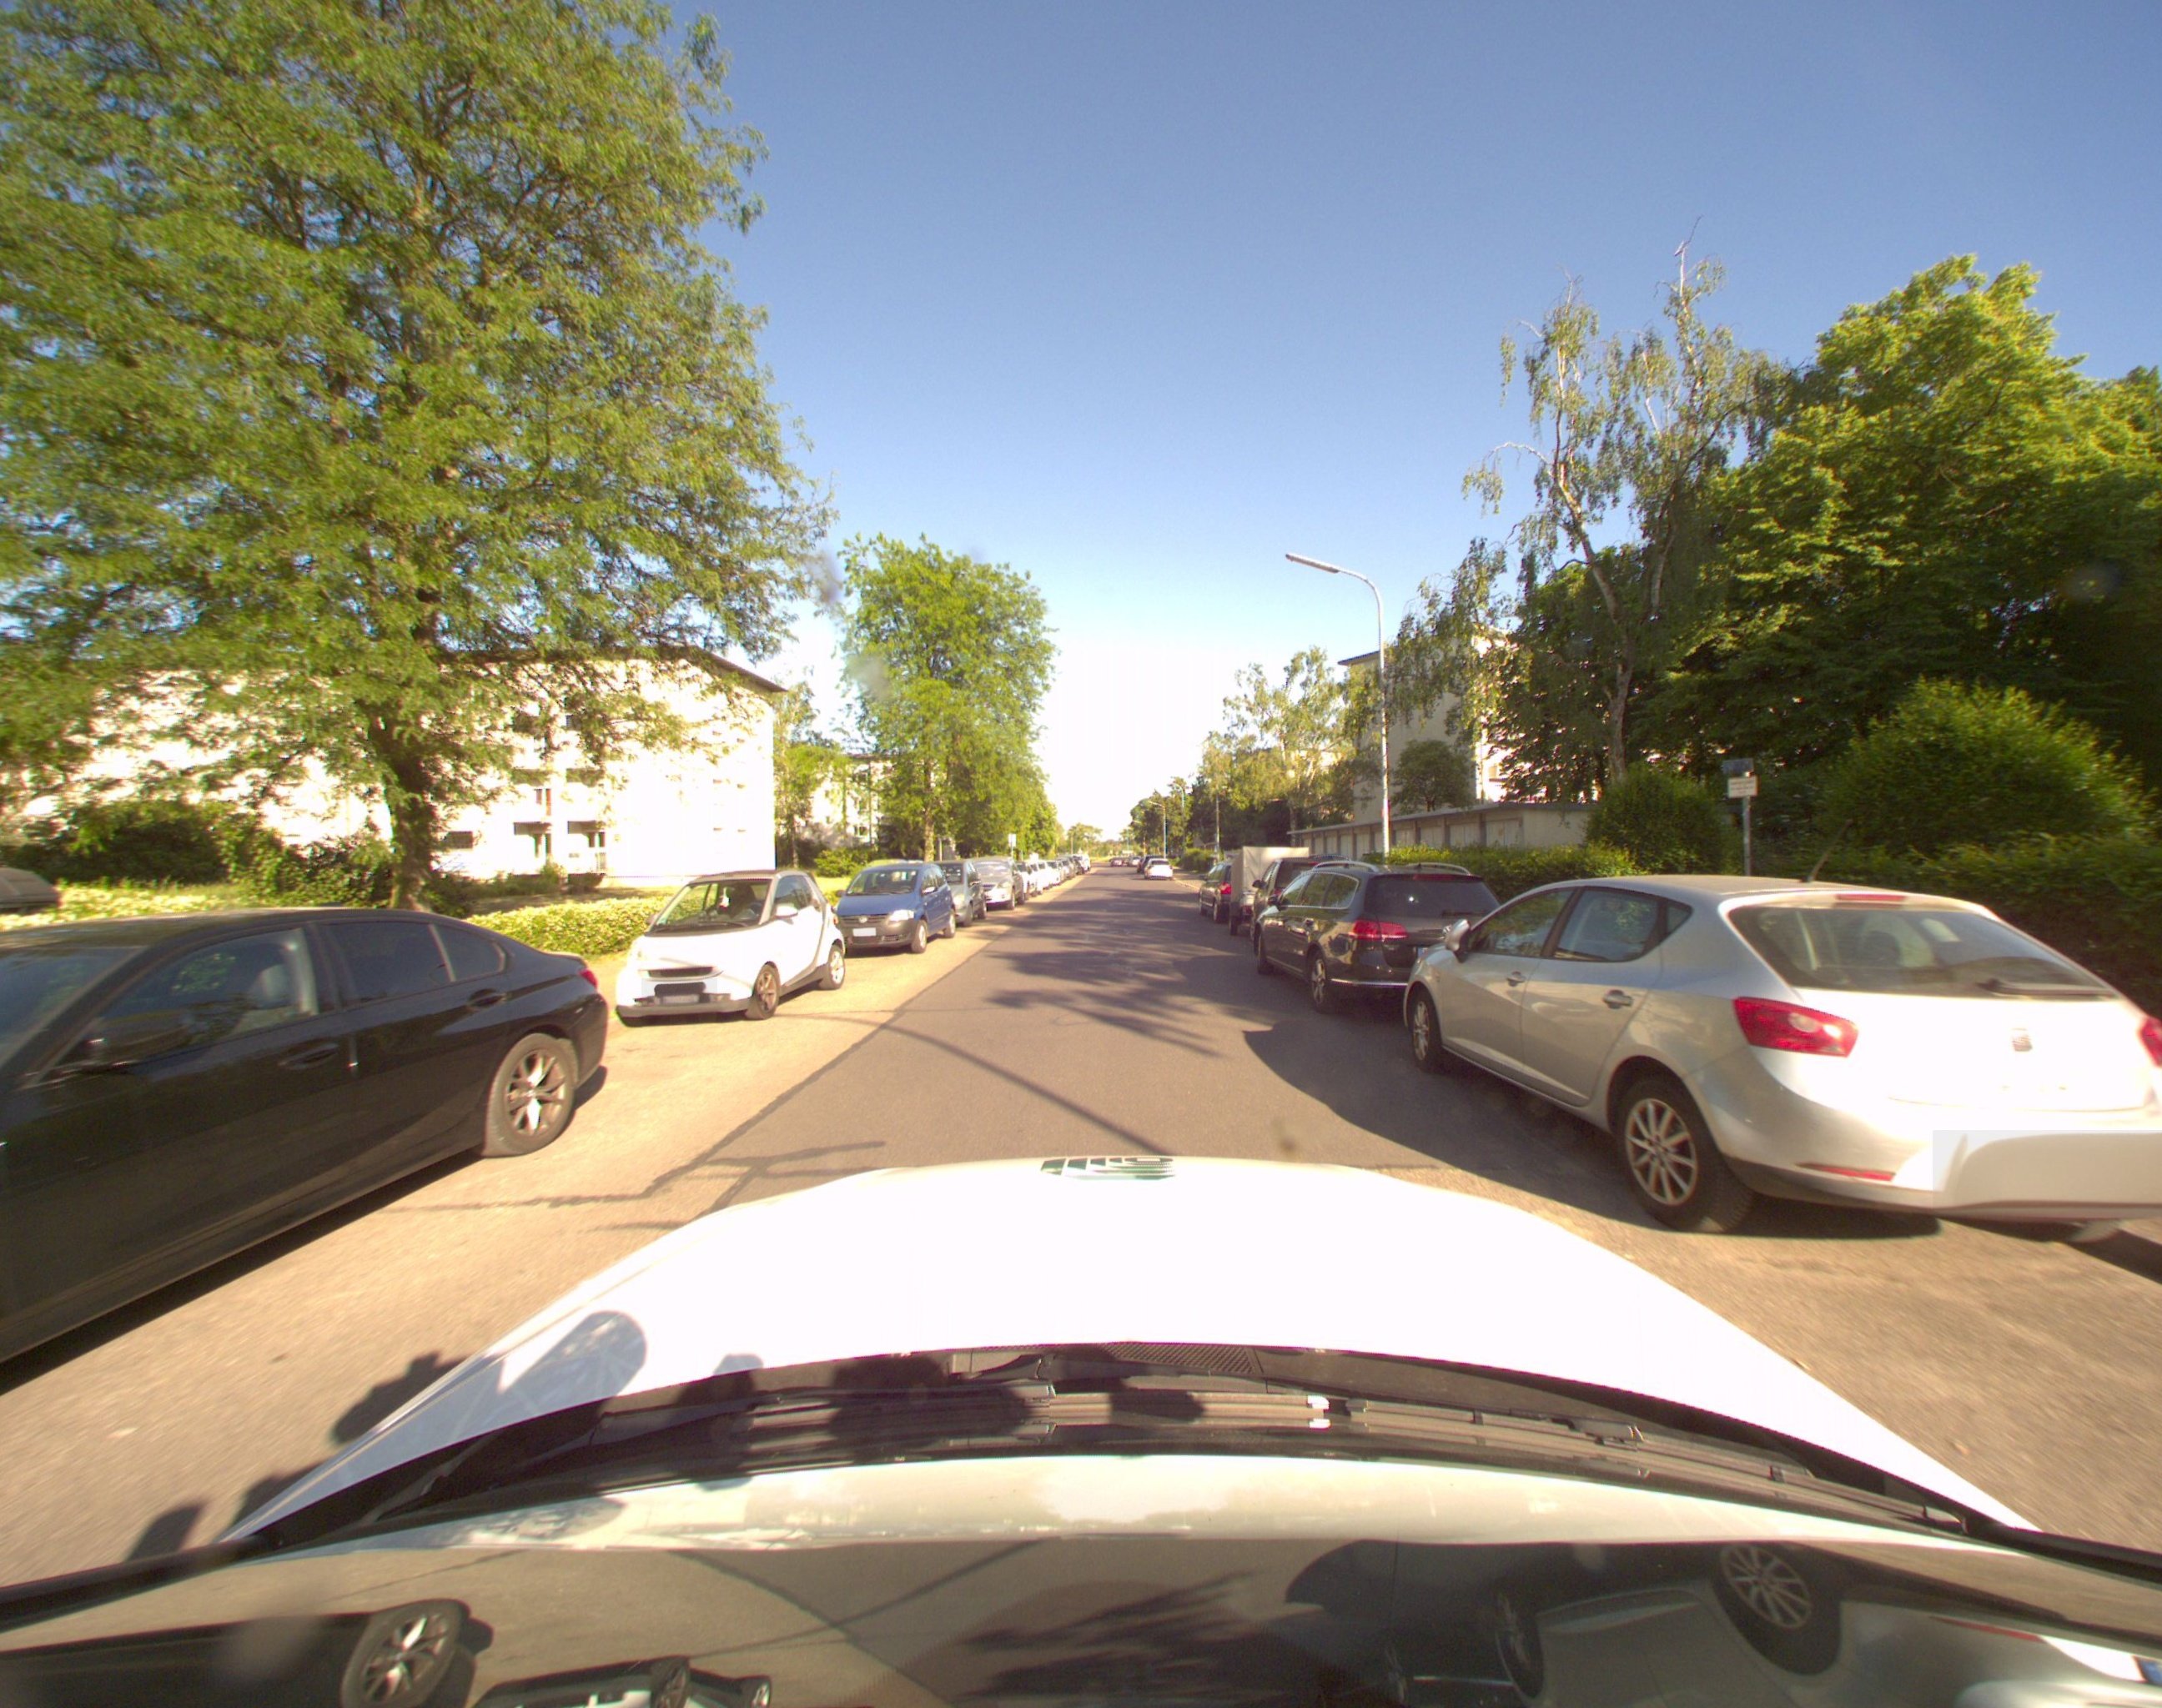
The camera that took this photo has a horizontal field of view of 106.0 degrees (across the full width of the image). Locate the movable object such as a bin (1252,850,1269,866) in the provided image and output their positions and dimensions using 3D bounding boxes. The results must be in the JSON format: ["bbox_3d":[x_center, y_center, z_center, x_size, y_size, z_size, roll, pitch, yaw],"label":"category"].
[{"bbox_3d":[15.709,0.357,71.429,1.250,1.353,1.279,-1,0,1],"label":"movable object such as a bin"}]

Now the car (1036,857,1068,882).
[{"bbox_3d":[-1.870,0.965,53.817,1.680,1.465,4.527,-3,0,2],"label":"car"}]

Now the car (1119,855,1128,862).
[{"bbox_3d":[8.975,0.974,172.555,1.790,1.548,3.951,0,0,0],"label":"car"}]

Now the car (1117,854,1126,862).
[{"bbox_3d":[8.936,0.917,179.885,1.790,1.643,3.951,0,0,0],"label":"car"}]

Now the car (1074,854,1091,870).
[{"bbox_3d":[0.181,0.892,94.213,1.739,1.732,4.007,-2,0,2],"label":"car"}]

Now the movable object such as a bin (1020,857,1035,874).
[{"bbox_3d":[-4.611,0.963,70.703,1.097,1.420,1.362,1,0,2],"label":"movable object such as a bin"}]

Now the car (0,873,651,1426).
[{"bbox_3d":[-3.921,0.916,3.341,1.748,1.481,4.538,-3,0,1],"label":"car"}]

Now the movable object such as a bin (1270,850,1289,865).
[{"bbox_3d":[17.417,0.313,71.615,1.253,1.353,1.276,-1,0,-6],"label":"movable object such as a bin"}]

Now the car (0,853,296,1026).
[{"bbox_3d":[-11.028,0.810,8.599,1.565,1.641,4.000,0,0,0],"label":"car"}]

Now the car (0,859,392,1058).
[{"bbox_3d":[-9.134,0.820,7.836,1.565,1.525,4.000,0,0,0],"label":"car"}]

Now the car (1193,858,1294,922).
[{"bbox_3d":[3.926,0.813,20.236,1.726,1.403,3.894,0,0,0],"label":"car"}]

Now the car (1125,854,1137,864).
[{"bbox_3d":[8.410,0.836,138.194,1.790,1.643,3.951,0,0,0],"label":"car"}]

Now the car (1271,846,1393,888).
[{"bbox_3d":[10.269,0.513,33.581,4.494,1.513,1.830,-2,0,3],"label":"car"}]

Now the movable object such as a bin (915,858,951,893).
[{"bbox_3d":[-6.221,0.894,34.298,1.131,1.382,1.443,1,0,3],"label":"movable object such as a bin"}]

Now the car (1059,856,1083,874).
[{"bbox_3d":[-0.846,1.007,74.226,1.738,1.533,4.144,-2,0,4],"label":"car"}]

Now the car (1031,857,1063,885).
[{"bbox_3d":[-1.984,0.961,48.265,1.681,1.505,3.818,-2,0,1],"label":"car"}]

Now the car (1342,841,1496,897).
[{"bbox_3d":[10.269,0.445,24.953,3.931,1.513,1.828,-2,0,-1],"label":"car"}]

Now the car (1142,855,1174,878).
[{"bbox_3d":[5.169,0.810,54.875,1.748,1.513,4.103,1,0,0],"label":"car"}]

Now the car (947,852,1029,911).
[{"bbox_3d":[-2.826,0.807,25.701,1.896,1.640,4.351,-2,0,2],"label":"car"}]

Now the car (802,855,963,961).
[{"bbox_3d":[-3.483,0.875,15.095,1.747,1.606,3.971,-3,0,3],"label":"car"}]

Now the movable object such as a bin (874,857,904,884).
[{"bbox_3d":[-10.331,0.874,43.896,1.172,1.420,1.464,1,0,4],"label":"movable object such as a bin"}]

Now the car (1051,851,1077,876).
[{"bbox_3d":[-1.312,0.756,65.058,1.848,1.892,4.418,-2,0,1],"label":"car"}]

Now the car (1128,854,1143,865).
[{"bbox_3d":[7.813,0.794,117.082,1.790,1.561,3.951,0,0,0],"label":"car"}]

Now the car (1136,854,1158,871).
[{"bbox_3d":[6.220,0.769,76.995,1.900,1.531,4.330,0,0,2],"label":"car"}]

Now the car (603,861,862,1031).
[{"bbox_3d":[-3.850,0.921,9.574,1.438,1.574,3.145,-3,0,4],"label":"car"}]

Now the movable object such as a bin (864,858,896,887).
[{"bbox_3d":[-10.439,0.963,42.329,1.172,1.420,1.464,1,0,4],"label":"movable object such as a bin"}]

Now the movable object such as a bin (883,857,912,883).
[{"bbox_3d":[-10.203,0.885,45.414,1.172,1.420,1.464,1,0,4],"label":"movable object such as a bin"}]

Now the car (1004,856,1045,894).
[{"bbox_3d":[-2.482,0.881,35.989,1.659,1.513,3.533,-2,0,-4],"label":"car"}]

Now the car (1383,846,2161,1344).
[{"bbox_3d":[3.161,0.728,4.470,1.617,1.490,4.037,0,0,1],"label":"car"}]

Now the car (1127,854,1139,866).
[{"bbox_3d":[8.498,0.969,133.110,1.790,1.786,3.951,0,0,0],"label":"car"}]

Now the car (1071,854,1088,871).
[{"bbox_3d":[-0.129,0.916,88.674,1.741,1.669,4.376,-2,0,-1],"label":"car"}]

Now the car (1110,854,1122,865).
[{"bbox_3d":[5.207,0.821,121.910,1.674,1.513,4.103,1,0,0],"label":"car"}]

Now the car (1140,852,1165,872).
[{"bbox_3d":[6.200,0.665,71.142,1.900,1.639,4.631,0,0,2],"label":"car"}]

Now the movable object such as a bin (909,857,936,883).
[{"bbox_3d":[-8.899,0.884,45.866,1.129,1.420,1.362,1,0,3],"label":"movable object such as a bin"}]

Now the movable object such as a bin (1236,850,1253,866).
[{"bbox_3d":[14.324,0.356,71.515,1.250,1.353,1.279,-1,0,1],"label":"movable object such as a bin"}]

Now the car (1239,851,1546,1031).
[{"bbox_3d":[3.135,0.756,9.293,1.726,1.490,4.500,-2,0,0],"label":"car"}]

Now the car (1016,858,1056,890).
[{"bbox_3d":[-2.317,1.000,42.573,1.680,1.535,3.892,-2,0,1],"label":"car"}]

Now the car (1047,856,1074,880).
[{"bbox_3d":[-1.440,0.973,59.234,1.704,1.600,3.986,-3,0,1],"label":"car"}]

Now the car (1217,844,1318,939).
[{"bbox_3d":[3.610,0.681,16.129,1.483,1.718,2.584,0,0,2],"label":"car"}]

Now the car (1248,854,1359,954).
[{"bbox_3d":[3.665,0.762,13.719,1.408,1.523,2.562,0,0,6],"label":"car"}]

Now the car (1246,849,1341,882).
[{"bbox_3d":[10.856,0.562,41.779,4.397,1.513,1.830,-2,0,2],"label":"car"}]

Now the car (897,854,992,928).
[{"bbox_3d":[-3.266,0.842,20.120,1.630,1.606,3.536,-2,0,1],"label":"car"}]

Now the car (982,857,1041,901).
[{"bbox_3d":[-2.616,0.918,31.556,1.655,1.513,3.949,-2,0,3],"label":"car"}]

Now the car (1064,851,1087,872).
[{"bbox_3d":[-0.533,0.710,80.510,1.907,1.962,5.091,-2,0,2],"label":"car"}]
